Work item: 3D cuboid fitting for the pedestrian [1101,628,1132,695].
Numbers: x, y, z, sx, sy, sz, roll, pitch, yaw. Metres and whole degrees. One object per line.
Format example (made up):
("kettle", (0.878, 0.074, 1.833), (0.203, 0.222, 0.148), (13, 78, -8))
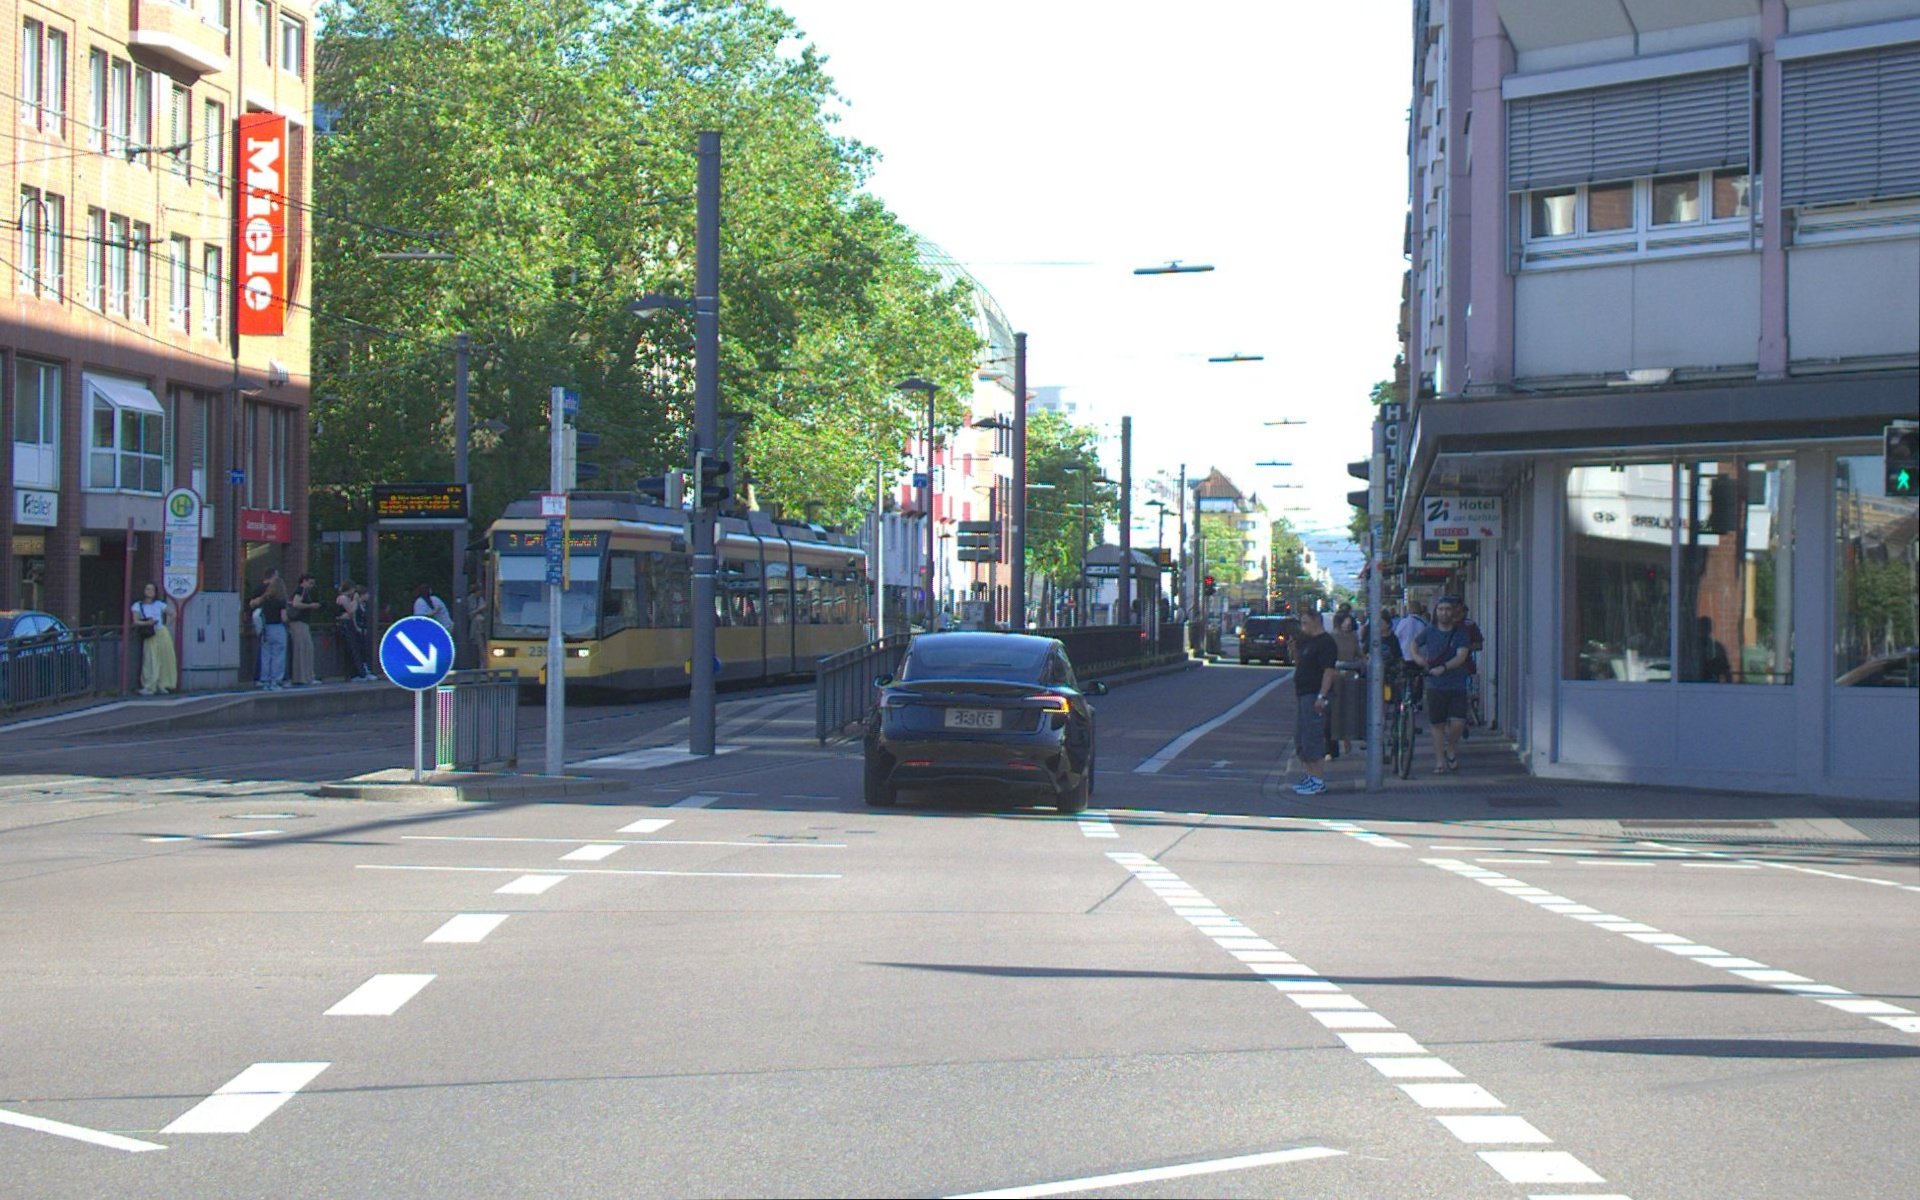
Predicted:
("pedestrian", (4.160, 1.623, 91.307), (0.757, 1.764, 0.698), (1, -1, 6))

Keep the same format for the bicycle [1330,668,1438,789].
("bicycle", (4.246, 1.276, 34.520), (0.488, 1.157, 1.974), (1, -1, -10))

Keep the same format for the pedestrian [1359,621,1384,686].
("pedestrian", (12.065, 1.557, 100.764), (0.697, 1.890, 0.749), (1, -1, 7))

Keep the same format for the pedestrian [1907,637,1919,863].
("pedestrian", (7.133, 1.064, 23.859), (0.779, 1.571, 0.868), (1, 1, -5))

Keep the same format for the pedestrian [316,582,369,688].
("pedestrian", (-10.121, 0.568, 56.345), (0.636, 1.715, 0.585), (1, -1, 16))

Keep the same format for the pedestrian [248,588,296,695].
("pedestrian", (-9.868, 0.596, 49.322), (0.583, 1.526, 0.637), (1, -1, -5))

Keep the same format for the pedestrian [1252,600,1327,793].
("pedestrian", (3.100, 0.900, 32.387), (0.626, 1.776, 0.917), (1, -1, 2))

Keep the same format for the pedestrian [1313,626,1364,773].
("pedestrian", (4.085, 1.070, 37.080), (0.472, 1.557, 0.544), (1, -1, 13))

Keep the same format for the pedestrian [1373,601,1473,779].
("pedestrian", (4.673, 0.902, 34.629), (0.915, 1.749, 0.839), (1, -1, 12))

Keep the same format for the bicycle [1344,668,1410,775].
("bicycle", (4.456, 1.275, 36.635), (0.488, 1.098, 2.123), (1, -1, 12))

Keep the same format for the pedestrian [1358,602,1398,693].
("pedestrian", (7.742, 0.883, 63.708), (0.697, 1.672, 0.749), (1, -1, 7))

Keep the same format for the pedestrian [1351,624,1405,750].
("pedestrian", (5.647, 1.166, 46.442), (0.697, 1.672, 0.749), (1, -1, 7))

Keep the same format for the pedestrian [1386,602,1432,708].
("pedestrian", (7.166, 0.878, 54.891), (0.697, 1.672, 0.749), (1, -1, 7))

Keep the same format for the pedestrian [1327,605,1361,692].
("pedestrian", (8.442, 1.060, 75.625), (0.697, 1.890, 0.749), (1, -1, 7))

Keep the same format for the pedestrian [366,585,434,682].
("pedestrian", (-9.519, 0.576, 58.431), (0.999, 1.619, 0.848), (1, -1, -1))

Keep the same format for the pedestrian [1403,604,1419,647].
("pedestrian", (20.033, 1.125, 152.667), (0.697, 1.872, 0.749), (1, -1, 8))

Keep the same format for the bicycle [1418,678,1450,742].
("bicycle", (6.606, 1.525, 47.870), (0.414, 0.854, 1.237), (1, -1, 9))

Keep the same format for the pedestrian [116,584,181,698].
("pedestrian", (-11.183, 0.569, 47.401), (0.636, 1.558, 0.585), (1, -1, 15))

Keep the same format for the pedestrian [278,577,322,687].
("pedestrian", (-10.374, 0.505, 54.035), (0.635, 1.715, 0.585), (1, -1, -12))

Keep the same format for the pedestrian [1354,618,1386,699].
("pedestrian", (9.691, 1.391, 81.250), (0.697, 1.890, 0.749), (1, -1, 7))

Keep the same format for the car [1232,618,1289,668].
("car", (10.194, 1.463, 116.769), (1.737, 1.659, 3.708), (1, -1, 3))

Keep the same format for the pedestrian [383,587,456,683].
("pedestrian", (-9.369, 0.610, 59.591), (1.105, 1.619, 0.848), (1, -1, -1))

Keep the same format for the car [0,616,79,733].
("car", (-13.489, 1.019, 46.667), (1.817, 1.539, 3.791), (-1, -1, 5))

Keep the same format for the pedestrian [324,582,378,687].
("pedestrian", (-10.091, 0.577, 56.975), (0.636, 1.715, 0.608), (1, -1, 16))

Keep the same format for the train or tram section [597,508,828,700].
("train or tram section", (-4.825, 0.156, 69.320), (2.714, 3.534, 10.165), (1, -1, 7))

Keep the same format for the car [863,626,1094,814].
("car", (0.172, 0.997, 29.150), (1.790, 1.446, 3.939), (1, -1, 1))

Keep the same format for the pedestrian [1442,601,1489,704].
("pedestrian", (8.380, 0.869, 56.993), (0.747, 1.672, 0.698), (1, -1, 8))

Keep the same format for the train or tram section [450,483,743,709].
("train or tram section", (-6.059, 0.016, 59.274), (2.730, 3.530, 10.083), (1, -1, 7))

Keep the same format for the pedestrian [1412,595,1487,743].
("pedestrian", (5.671, 0.797, 39.836), (0.686, 1.683, 0.671), (1, -1, -7))

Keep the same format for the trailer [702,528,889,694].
("trailer", (-3.655, 0.313, 79.005), (2.714, 3.534, 9.355), (1, -1, 7))
